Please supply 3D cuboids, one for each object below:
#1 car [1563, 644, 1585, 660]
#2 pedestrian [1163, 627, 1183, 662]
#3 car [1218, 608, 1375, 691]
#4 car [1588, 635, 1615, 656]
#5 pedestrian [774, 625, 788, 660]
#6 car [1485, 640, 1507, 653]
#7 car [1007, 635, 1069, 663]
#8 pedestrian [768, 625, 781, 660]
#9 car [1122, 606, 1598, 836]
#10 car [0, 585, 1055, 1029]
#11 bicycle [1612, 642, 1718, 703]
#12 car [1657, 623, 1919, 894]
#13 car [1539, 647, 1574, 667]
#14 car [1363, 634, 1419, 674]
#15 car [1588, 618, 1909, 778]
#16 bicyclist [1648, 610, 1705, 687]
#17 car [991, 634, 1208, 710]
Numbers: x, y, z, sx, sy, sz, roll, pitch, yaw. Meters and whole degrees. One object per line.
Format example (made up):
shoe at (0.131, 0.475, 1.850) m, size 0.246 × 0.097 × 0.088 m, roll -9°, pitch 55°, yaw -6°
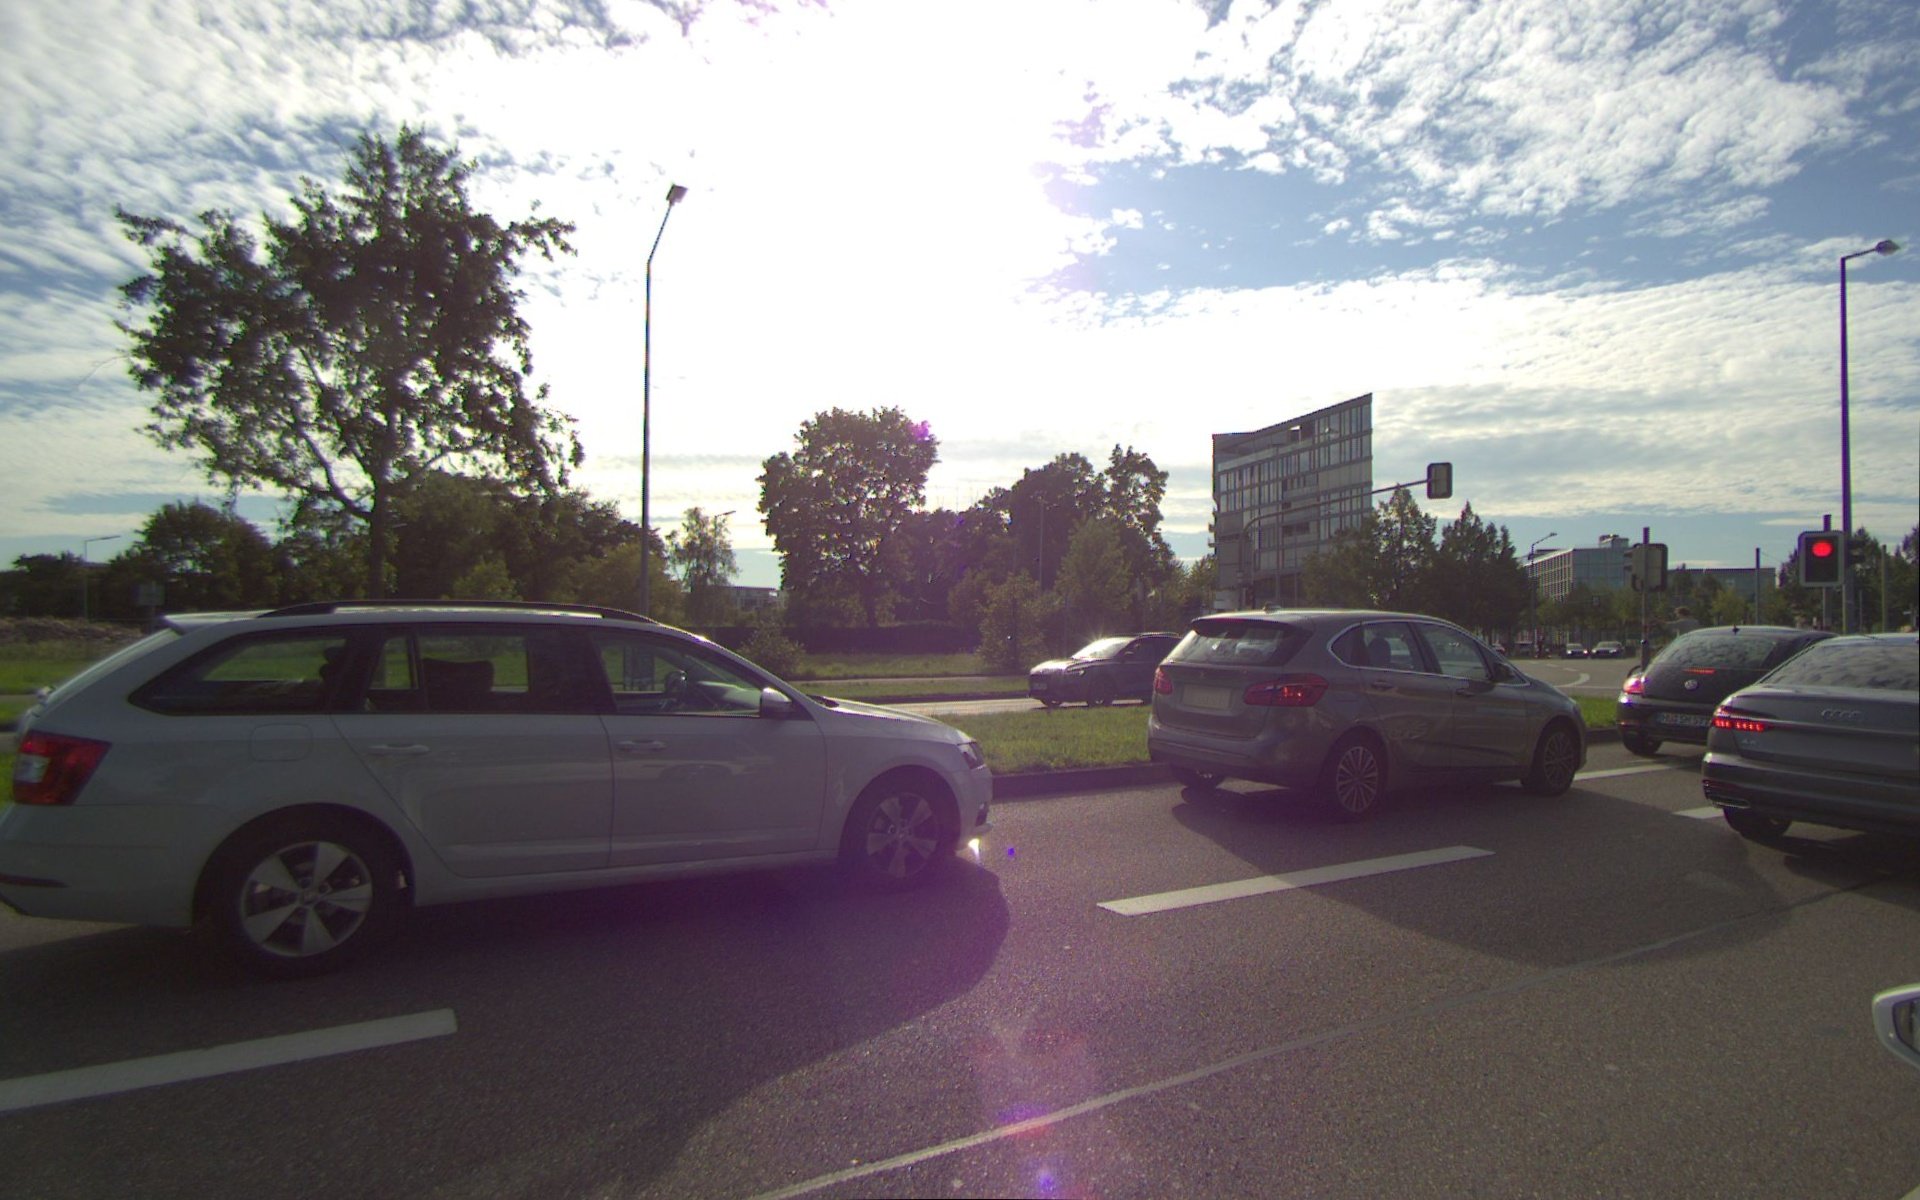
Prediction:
car at (55.517, 4.709, 90.843) m, size 1.570 × 1.433 × 3.660 m, roll -1°, pitch -3°, yaw 34°
pedestrian at (9.910, 2.069, 46.717) m, size 0.610 × 1.589 × 0.650 m, roll 2°, pitch -2°, yaw -37°
car at (10.256, 1.511, 30.301) m, size 5.885 × 2.264 × 1.974 m, roll 3°, pitch -4°, yaw -44°
car at (48.532, 3.420, 76.038) m, size 1.682 × 1.594 × 3.990 m, roll -1°, pitch -2°, yaw 33°
pedestrian at (-10.531, 2.521, 59.200) m, size 0.723 × 2.040 × 0.739 m, roll 0°, pitch -2°, yaw -6°
car at (69.046, 6.000, 129.355) m, size 1.678 × 1.713 × 4.002 m, roll 0°, pitch -2°, yaw 16°
car at (4.719, 2.953, 60.592) m, size 3.435 × 1.613 × 1.593 m, roll -1°, pitch -2°, yaw 25°
pedestrian at (-10.762, 2.446, 58.187) m, size 0.675 × 2.040 × 0.641 m, roll 0°, pitch -2°, yaw -5°
car at (3.502, 0.884, 8.640) m, size 3.971 × 1.579 × 1.721 m, roll 2°, pitch -1°, yaw -30°
car at (-1.795, 0.779, 5.294) m, size 4.429 × 1.518 × 1.690 m, roll 2°, pitch -1°, yaw -31°
bicycle at (14.556, 1.479, 20.767) m, size 1.707 × 1.179 × 0.652 m, roll -1°, pitch -3°, yaw 45°
car at (7.158, 0.968, 7.153) m, size 4.559 × 1.502 × 1.881 m, roll 2°, pitch -1°, yaw -31°
car at (50.546, 4.813, 85.087) m, size 1.767 × 1.595 × 3.978 m, roll -2°, pitch -3°, yaw 42°
car at (16.886, 2.108, 39.436) m, size 1.878 × 1.452 × 4.226 m, roll -2°, pitch -3°, yaw 23°
car at (9.104, 1.016, 11.545) m, size 3.766 × 1.543 × 1.672 m, roll 2°, pitch -1°, yaw -31°
bicyclist at (14.715, 0.992, 20.623) m, size 0.840 × 1.546 × 0.736 m, roll -2°, pitch -3°, yaw 44°
car at (2.890, 1.458, 20.663) m, size 4.158 × 1.428 × 1.892 m, roll 2°, pitch -4°, yaw -31°
